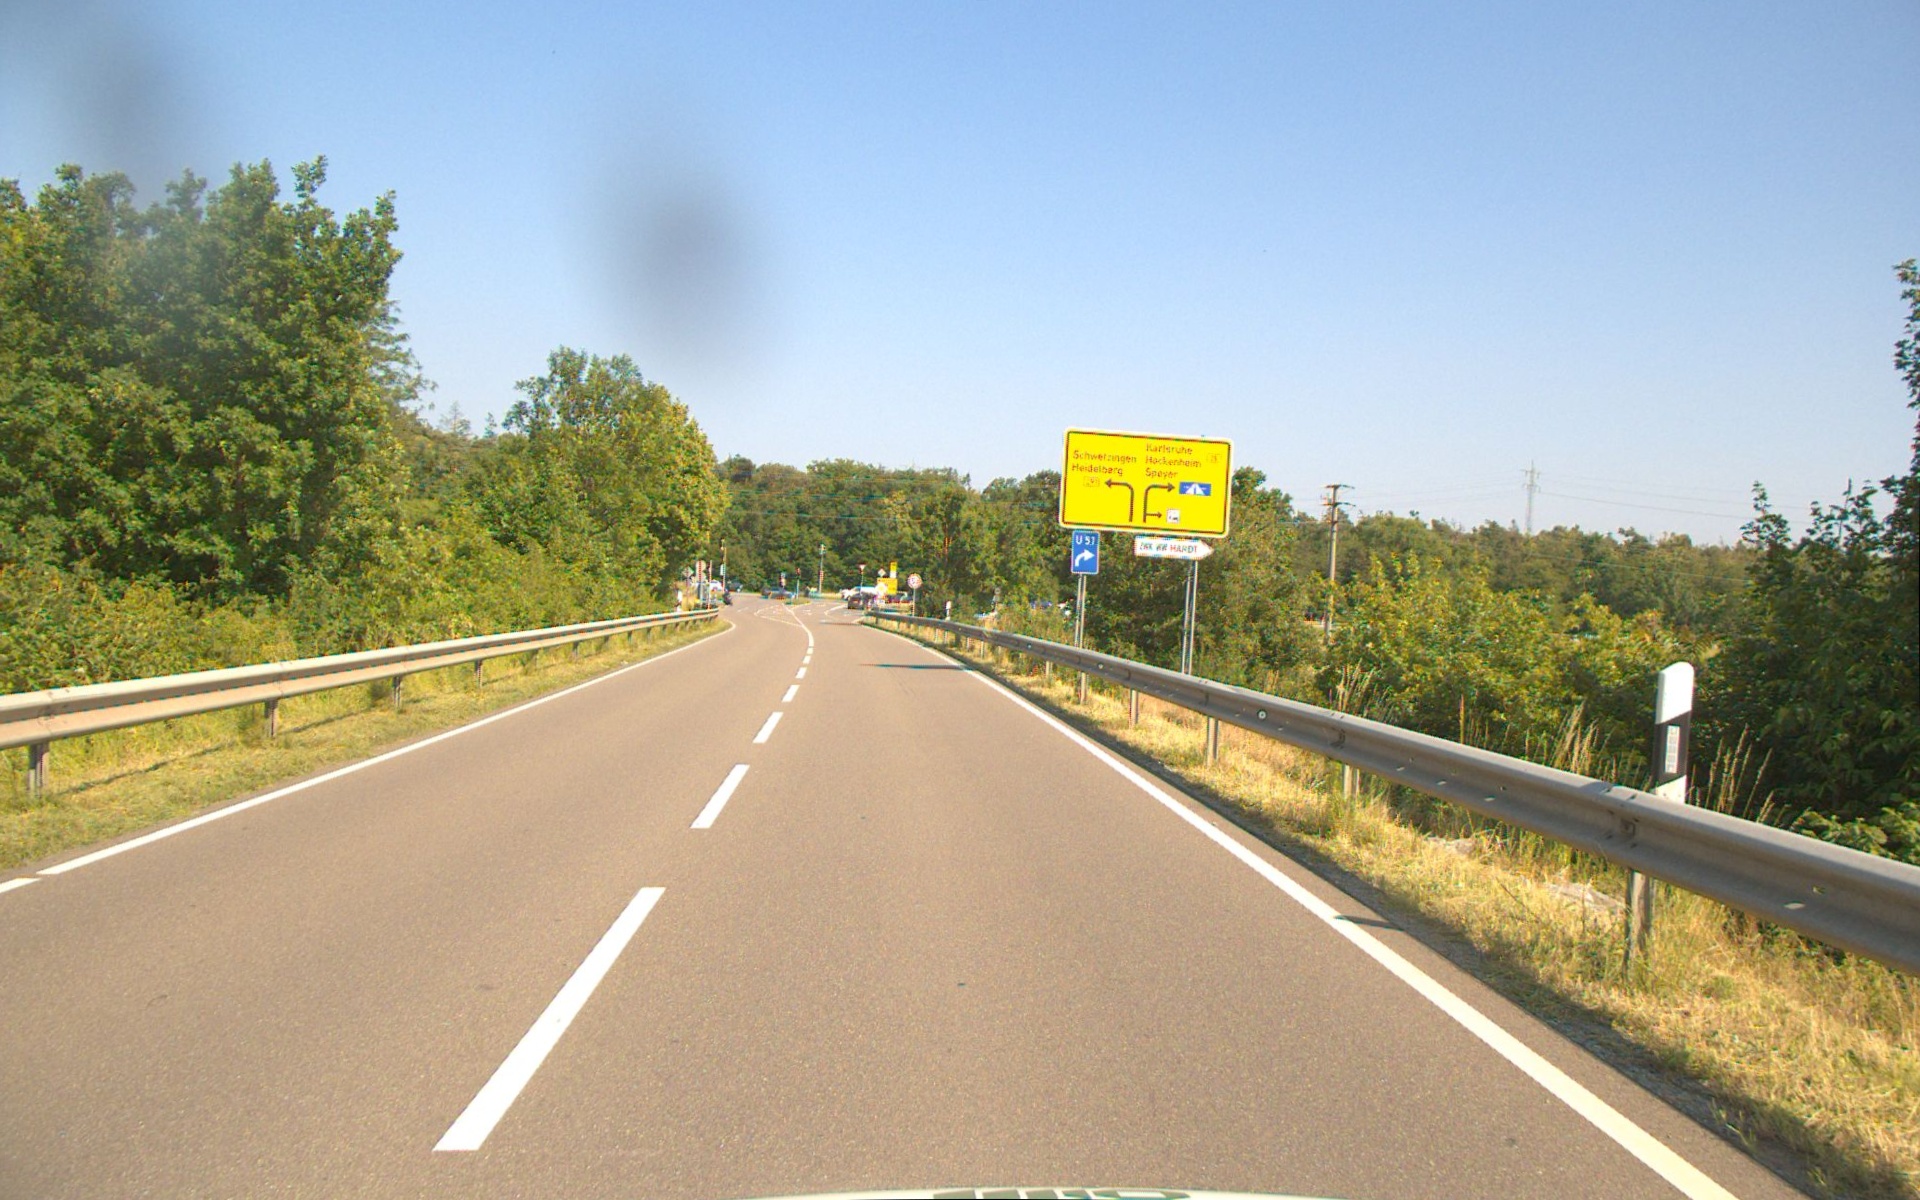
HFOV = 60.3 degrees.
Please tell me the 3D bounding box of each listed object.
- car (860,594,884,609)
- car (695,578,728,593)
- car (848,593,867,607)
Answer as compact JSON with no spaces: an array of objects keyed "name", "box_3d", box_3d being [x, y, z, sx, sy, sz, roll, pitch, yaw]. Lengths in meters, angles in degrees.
[{"name":"car","box_3d":[-9.942,0.179,187.145,1.761,1.527,4.003,3,0,11]},{"name":"car","box_3d":[-33.368,-1.934,222.039,3.940,2.049,1.780,1,0,-27]},{"name":"car","box_3d":[-11.143,-0.016,179.661,1.763,1.422,4.000,-4,0,0]}]
